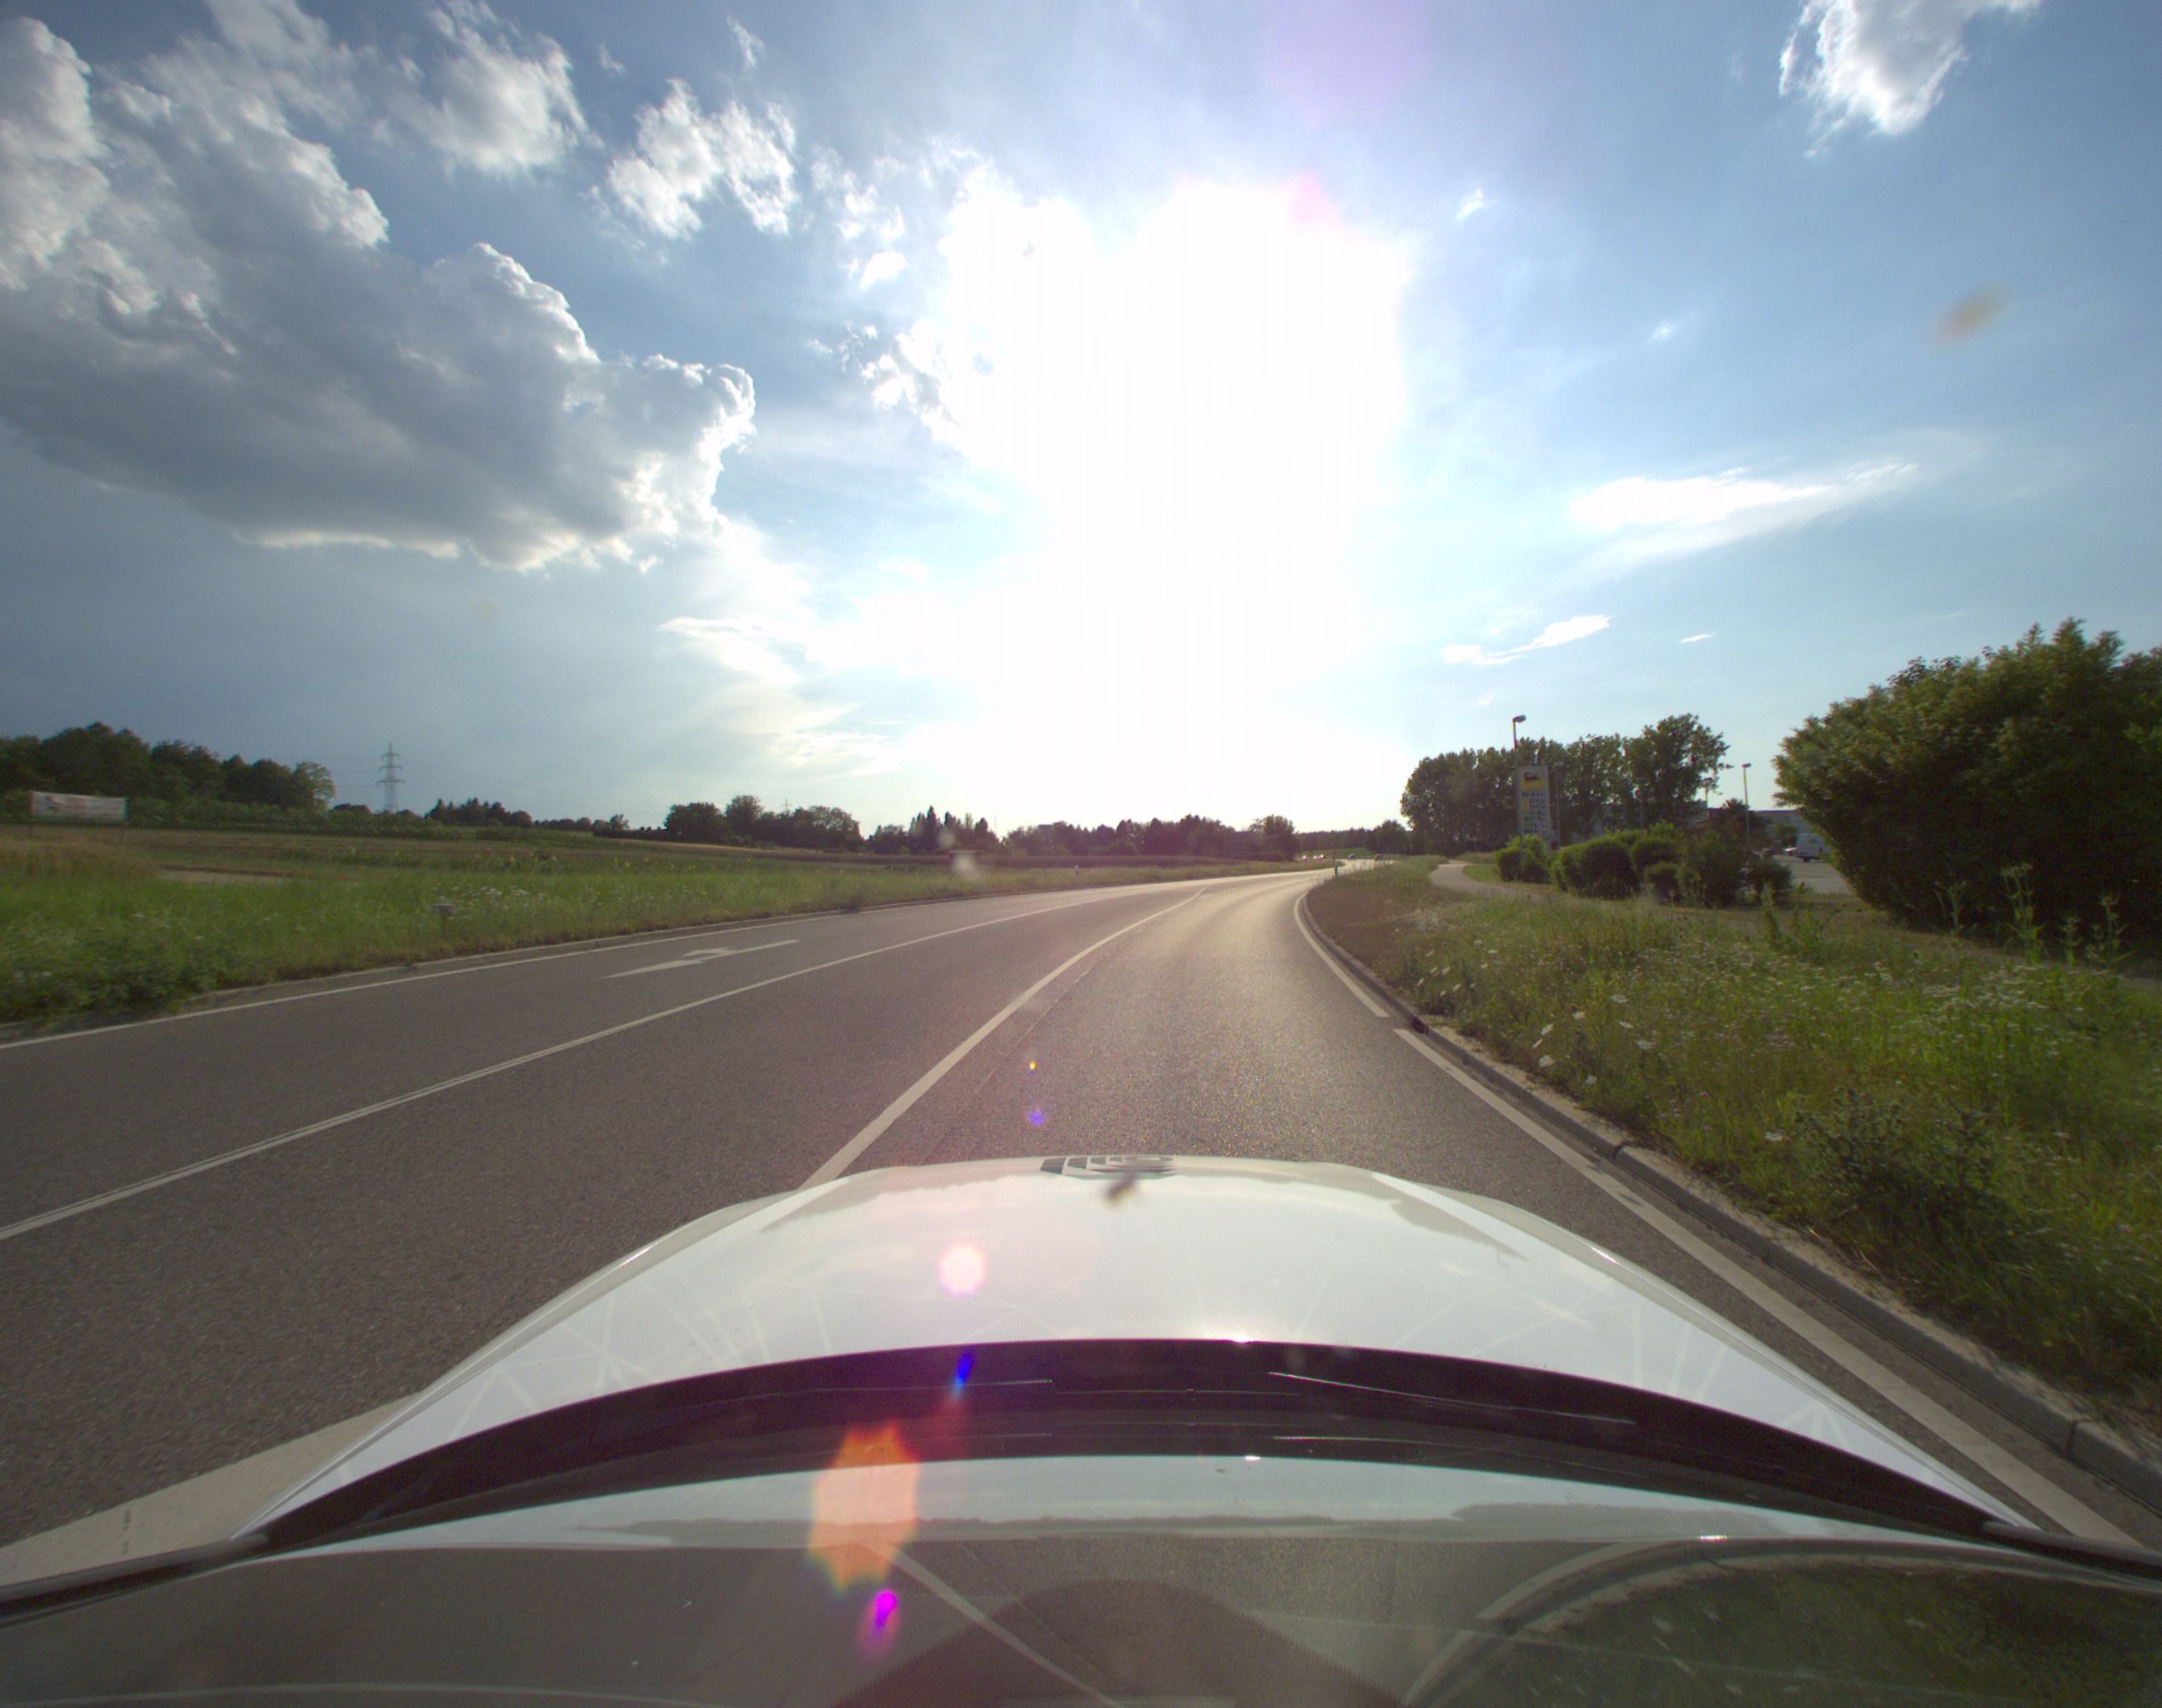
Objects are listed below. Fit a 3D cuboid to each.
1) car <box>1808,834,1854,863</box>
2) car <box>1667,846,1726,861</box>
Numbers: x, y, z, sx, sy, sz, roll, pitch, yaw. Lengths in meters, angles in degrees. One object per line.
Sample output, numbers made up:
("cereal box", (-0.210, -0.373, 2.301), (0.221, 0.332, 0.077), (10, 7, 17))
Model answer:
("car", (70.406, -0.501, 76.411), (6.852, 2.519, 2.210), (1, -1, -39))
("car", (51.792, -0.033, 68.594), (1.596, 1.202, 3.903), (0, -1, -10))
